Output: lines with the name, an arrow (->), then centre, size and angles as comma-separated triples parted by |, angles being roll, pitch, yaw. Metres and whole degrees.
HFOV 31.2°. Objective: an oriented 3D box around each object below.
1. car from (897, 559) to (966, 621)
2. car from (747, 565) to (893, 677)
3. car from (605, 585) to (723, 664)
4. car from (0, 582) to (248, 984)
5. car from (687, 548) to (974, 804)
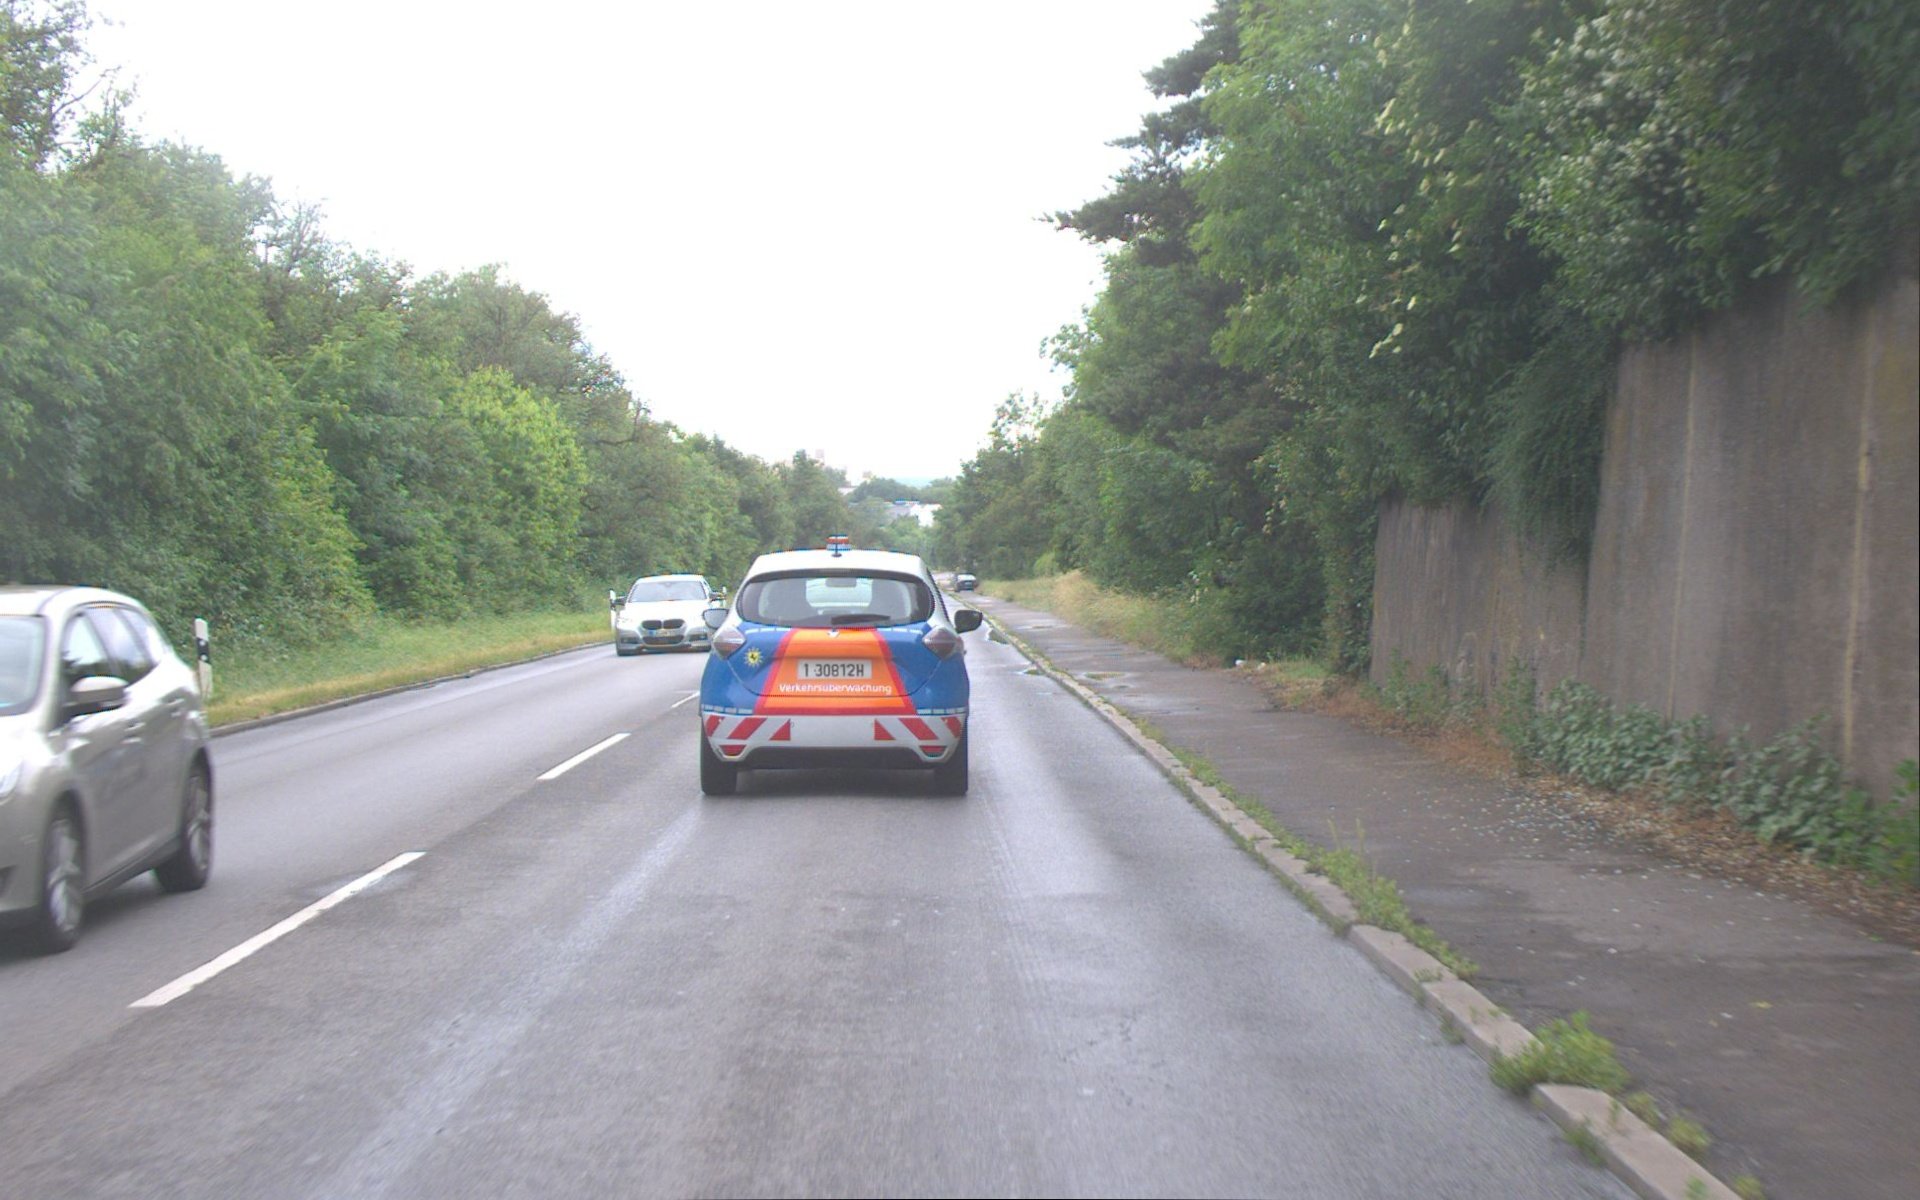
car -> -0.811, -0.297, 96.522 | 1.772, 1.619, 4.000 | -3, 1, -2
car -> -1.680, 0.238, 42.136 | 1.598, 1.282, 3.476 | -1, 0, 0
car -> -5.381, 0.415, 62.997 | 1.891, 1.350, 4.382 | -1, 1, -2
car -> -4.419, 0.684, 14.726 | 1.825, 1.415, 4.320 | -2, 1, 0
car -> -0.817, 0.439, 22.978 | 1.752, 1.550, 3.793 | 0, 1, -1
